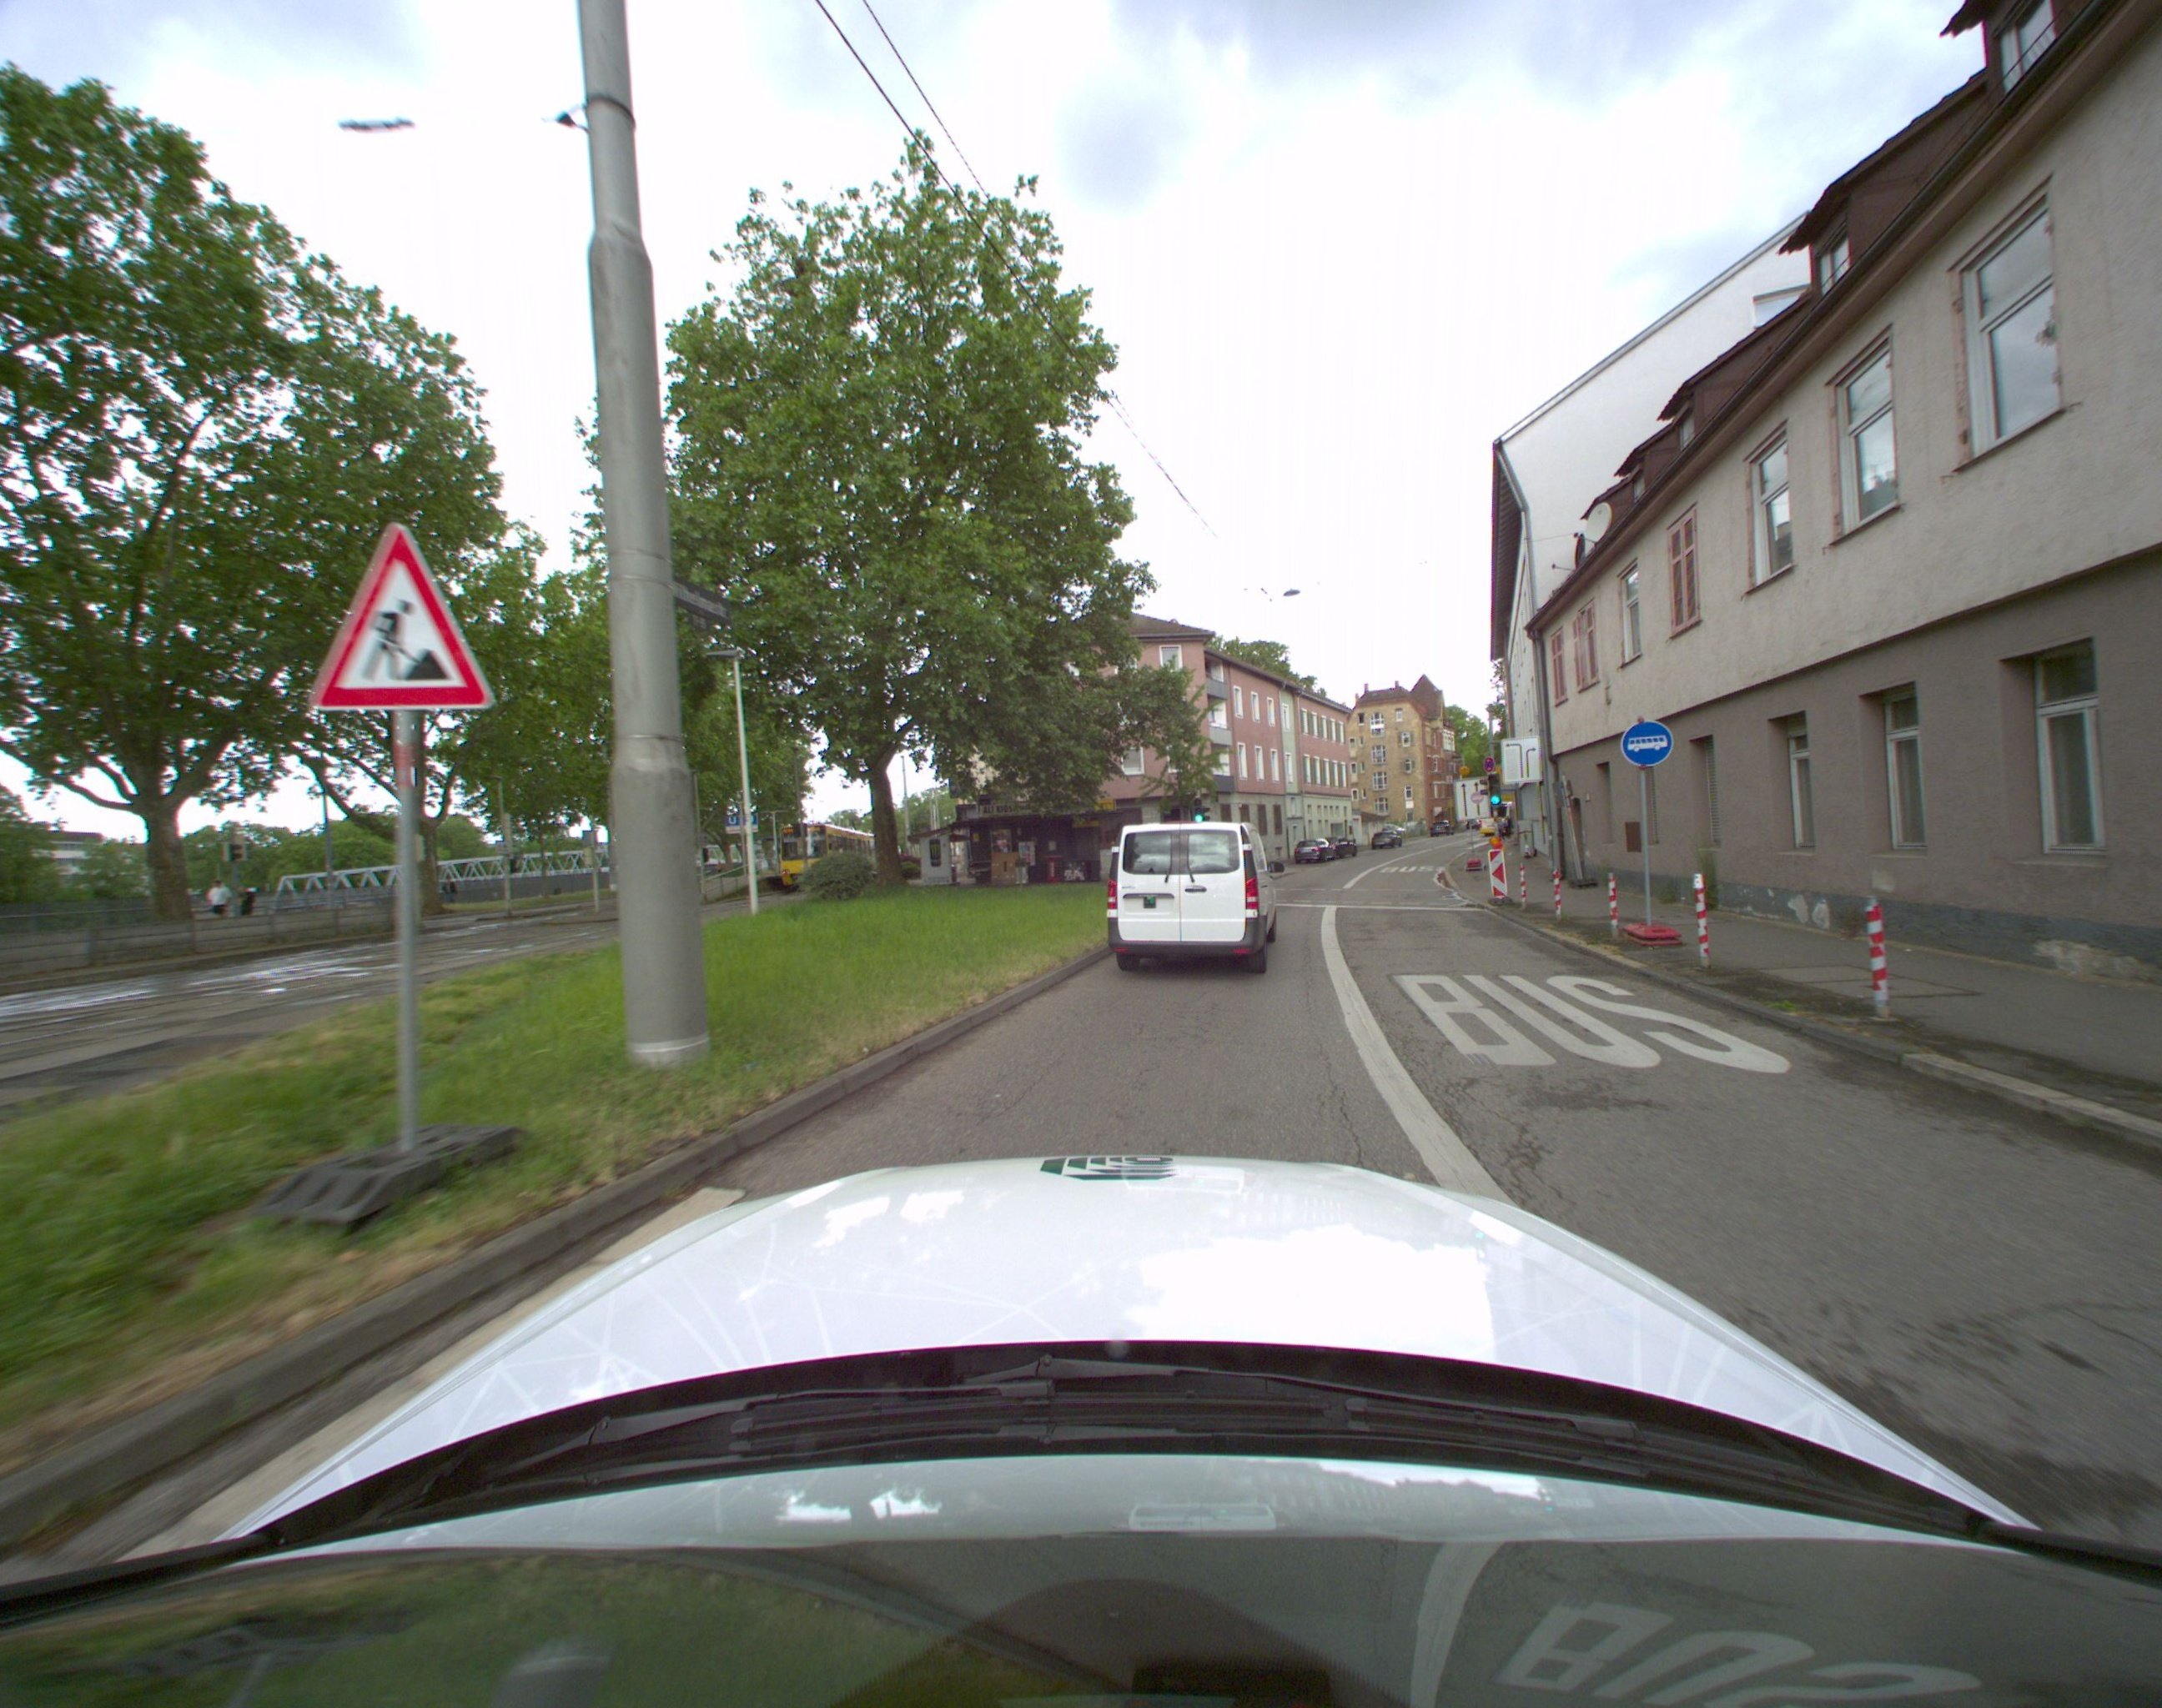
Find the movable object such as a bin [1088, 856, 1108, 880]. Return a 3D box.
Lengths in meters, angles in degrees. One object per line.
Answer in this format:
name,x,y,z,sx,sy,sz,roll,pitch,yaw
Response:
movable object such as a bin,0.709,0.575,34.747,0.671,0.964,1.075,0,1,-10

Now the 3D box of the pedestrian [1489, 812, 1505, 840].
pedestrian,28.734,-1.932,56.193,0.795,1.793,0.948,-6,0,27

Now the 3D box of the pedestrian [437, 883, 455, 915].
pedestrian,-33.321,2.365,42.747,0.669,1.623,0.529,0,-2,-31

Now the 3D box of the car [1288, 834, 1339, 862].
car,14.042,-0.398,48.996,1.811,1.455,4.613,-4,0,29

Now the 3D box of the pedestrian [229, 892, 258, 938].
pedestrian,-30.354,2.208,29.528,0.500,1.623,0.532,0,-2,-10

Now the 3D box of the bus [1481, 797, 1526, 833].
bus,40.523,-3.795,77.884,2.637,3.135,10.106,-1,2,34

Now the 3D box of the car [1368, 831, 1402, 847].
car,25.371,-1.257,67.891,1.974,1.290,4.025,-1,0,30

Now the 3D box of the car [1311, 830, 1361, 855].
car,16.980,-0.775,54.089,1.811,1.455,4.953,-4,0,34

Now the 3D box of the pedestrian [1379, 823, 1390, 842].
pedestrian,28.053,-1.999,75.222,0.754,1.744,0.991,-1,1,31

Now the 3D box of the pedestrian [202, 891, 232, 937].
pedestrian,-31.199,2.148,29.423,0.500,1.623,0.532,0,-2,-10

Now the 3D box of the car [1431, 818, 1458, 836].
car,40.542,-3.054,90.711,1.935,1.733,4.805,-4,1,33

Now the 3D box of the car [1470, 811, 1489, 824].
car,55.351,-5.101,113.118,1.708,1.485,4.420,-3,3,35

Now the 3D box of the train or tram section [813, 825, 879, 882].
train or tram section,-16.473,0.091,57.859,2.913,3.672,10.975,0,-1,-8

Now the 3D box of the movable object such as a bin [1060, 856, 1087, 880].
movable object such as a bin,-0.331,0.589,34.644,0.965,0.964,1.109,0,1,-10

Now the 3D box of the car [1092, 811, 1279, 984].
car,1.713,0.466,11.513,1.903,1.901,4.721,-1,0,16

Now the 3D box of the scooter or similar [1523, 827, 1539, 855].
scooter or similar,19.075,-0.554,34.555,0.424,1.097,1.448,-6,0,27

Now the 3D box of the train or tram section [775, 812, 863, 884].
train or tram section,-14.824,-0.186,47.016,2.913,3.672,10.975,0,-1,-8

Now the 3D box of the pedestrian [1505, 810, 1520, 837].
pedestrian,29.059,-2.041,54.831,0.680,1.756,0.884,-6,0,27
